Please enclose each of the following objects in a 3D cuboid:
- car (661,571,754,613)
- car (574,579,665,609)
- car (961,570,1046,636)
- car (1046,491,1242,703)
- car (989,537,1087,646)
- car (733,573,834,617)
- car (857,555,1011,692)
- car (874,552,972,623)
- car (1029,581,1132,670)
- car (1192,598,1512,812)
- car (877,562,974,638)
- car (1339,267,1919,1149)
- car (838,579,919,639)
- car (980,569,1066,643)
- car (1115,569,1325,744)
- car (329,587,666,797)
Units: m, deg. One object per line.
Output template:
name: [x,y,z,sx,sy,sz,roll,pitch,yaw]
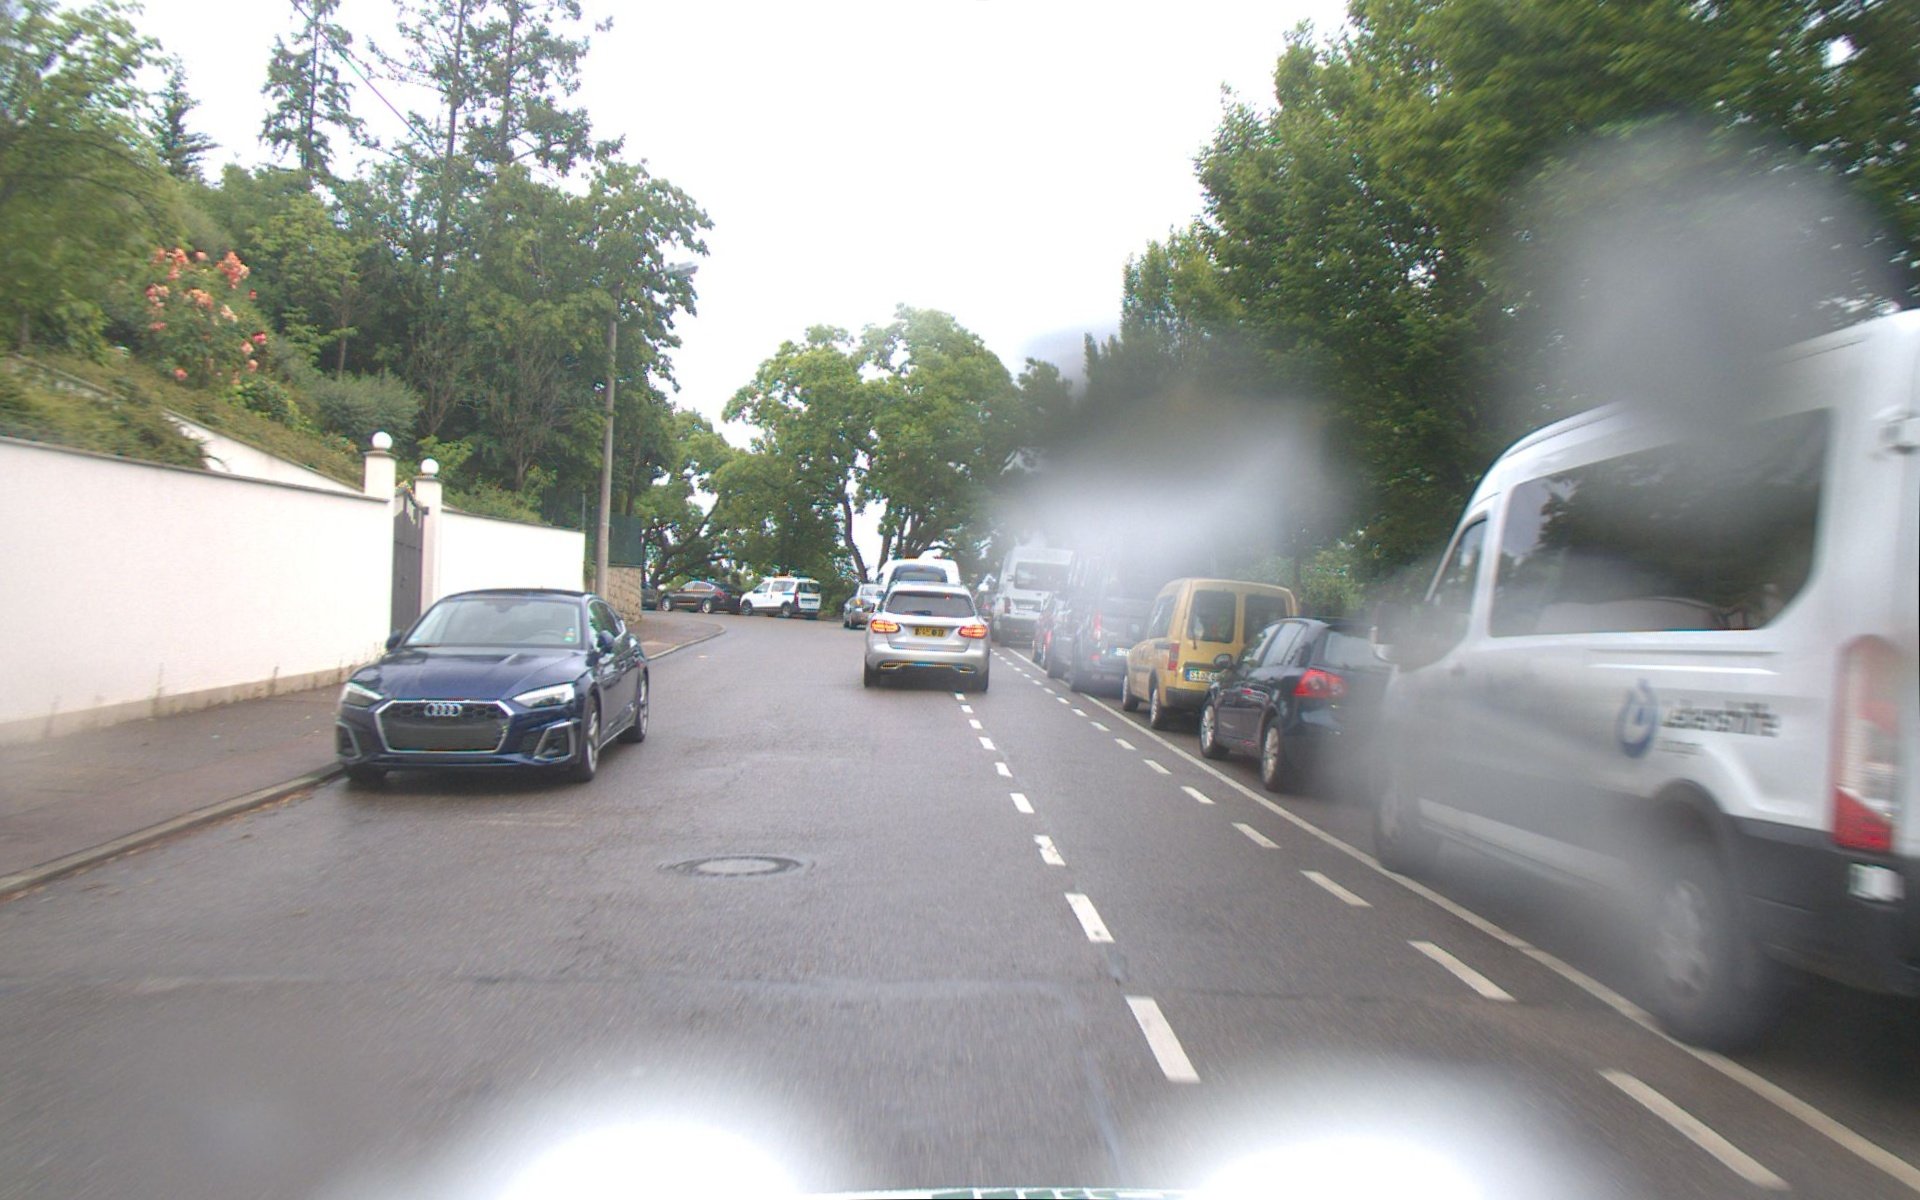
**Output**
car: [-12.102,-0.393,79.109,4.589,1.727,1.958,4,1,43]
car: [-17.017,-0.330,82.631,4.402,1.426,1.965,1,1,33]
car: [1.435,0.068,56.349,2.026,1.993,4.487,3,1,-9]
car: [2.811,-0.086,26.740,2.082,2.937,5.766,3,1,-3]
car: [1.957,-0.251,42.701,2.023,2.537,4.758,3,1,-2]
car: [-8.072,-0.229,75.486,4.412,1.727,1.961,4,1,39]
car: [-0.436,0.281,24.106,1.985,1.738,4.214,3,1,-3]
car: [-1.520,-0.543,65.715,2.100,2.570,4.459,3,1,-27]
car: [2.352,0.464,33.083,1.551,1.554,3.584,3,1,-3]
car: [3.357,0.817,15.014,1.638,1.483,4.222,5,1,-3]
car: [-0.924,0.006,41.621,1.956,1.738,3.993,3,0,-8]
car: [3.686,0.330,7.796,2.130,2.536,6.032,4,1,-2]
car: [-2.612,0.277,52.103,1.958,1.738,3.989,3,0,-11]
car: [1.838,0.128,49.730,2.023,1.993,4.493,3,1,-4]
car: [3.108,0.598,20.618,1.693,1.816,4.274,5,1,-2]
car: [-3.572,0.612,13.589,1.713,1.381,4.423,0,1,-3]
